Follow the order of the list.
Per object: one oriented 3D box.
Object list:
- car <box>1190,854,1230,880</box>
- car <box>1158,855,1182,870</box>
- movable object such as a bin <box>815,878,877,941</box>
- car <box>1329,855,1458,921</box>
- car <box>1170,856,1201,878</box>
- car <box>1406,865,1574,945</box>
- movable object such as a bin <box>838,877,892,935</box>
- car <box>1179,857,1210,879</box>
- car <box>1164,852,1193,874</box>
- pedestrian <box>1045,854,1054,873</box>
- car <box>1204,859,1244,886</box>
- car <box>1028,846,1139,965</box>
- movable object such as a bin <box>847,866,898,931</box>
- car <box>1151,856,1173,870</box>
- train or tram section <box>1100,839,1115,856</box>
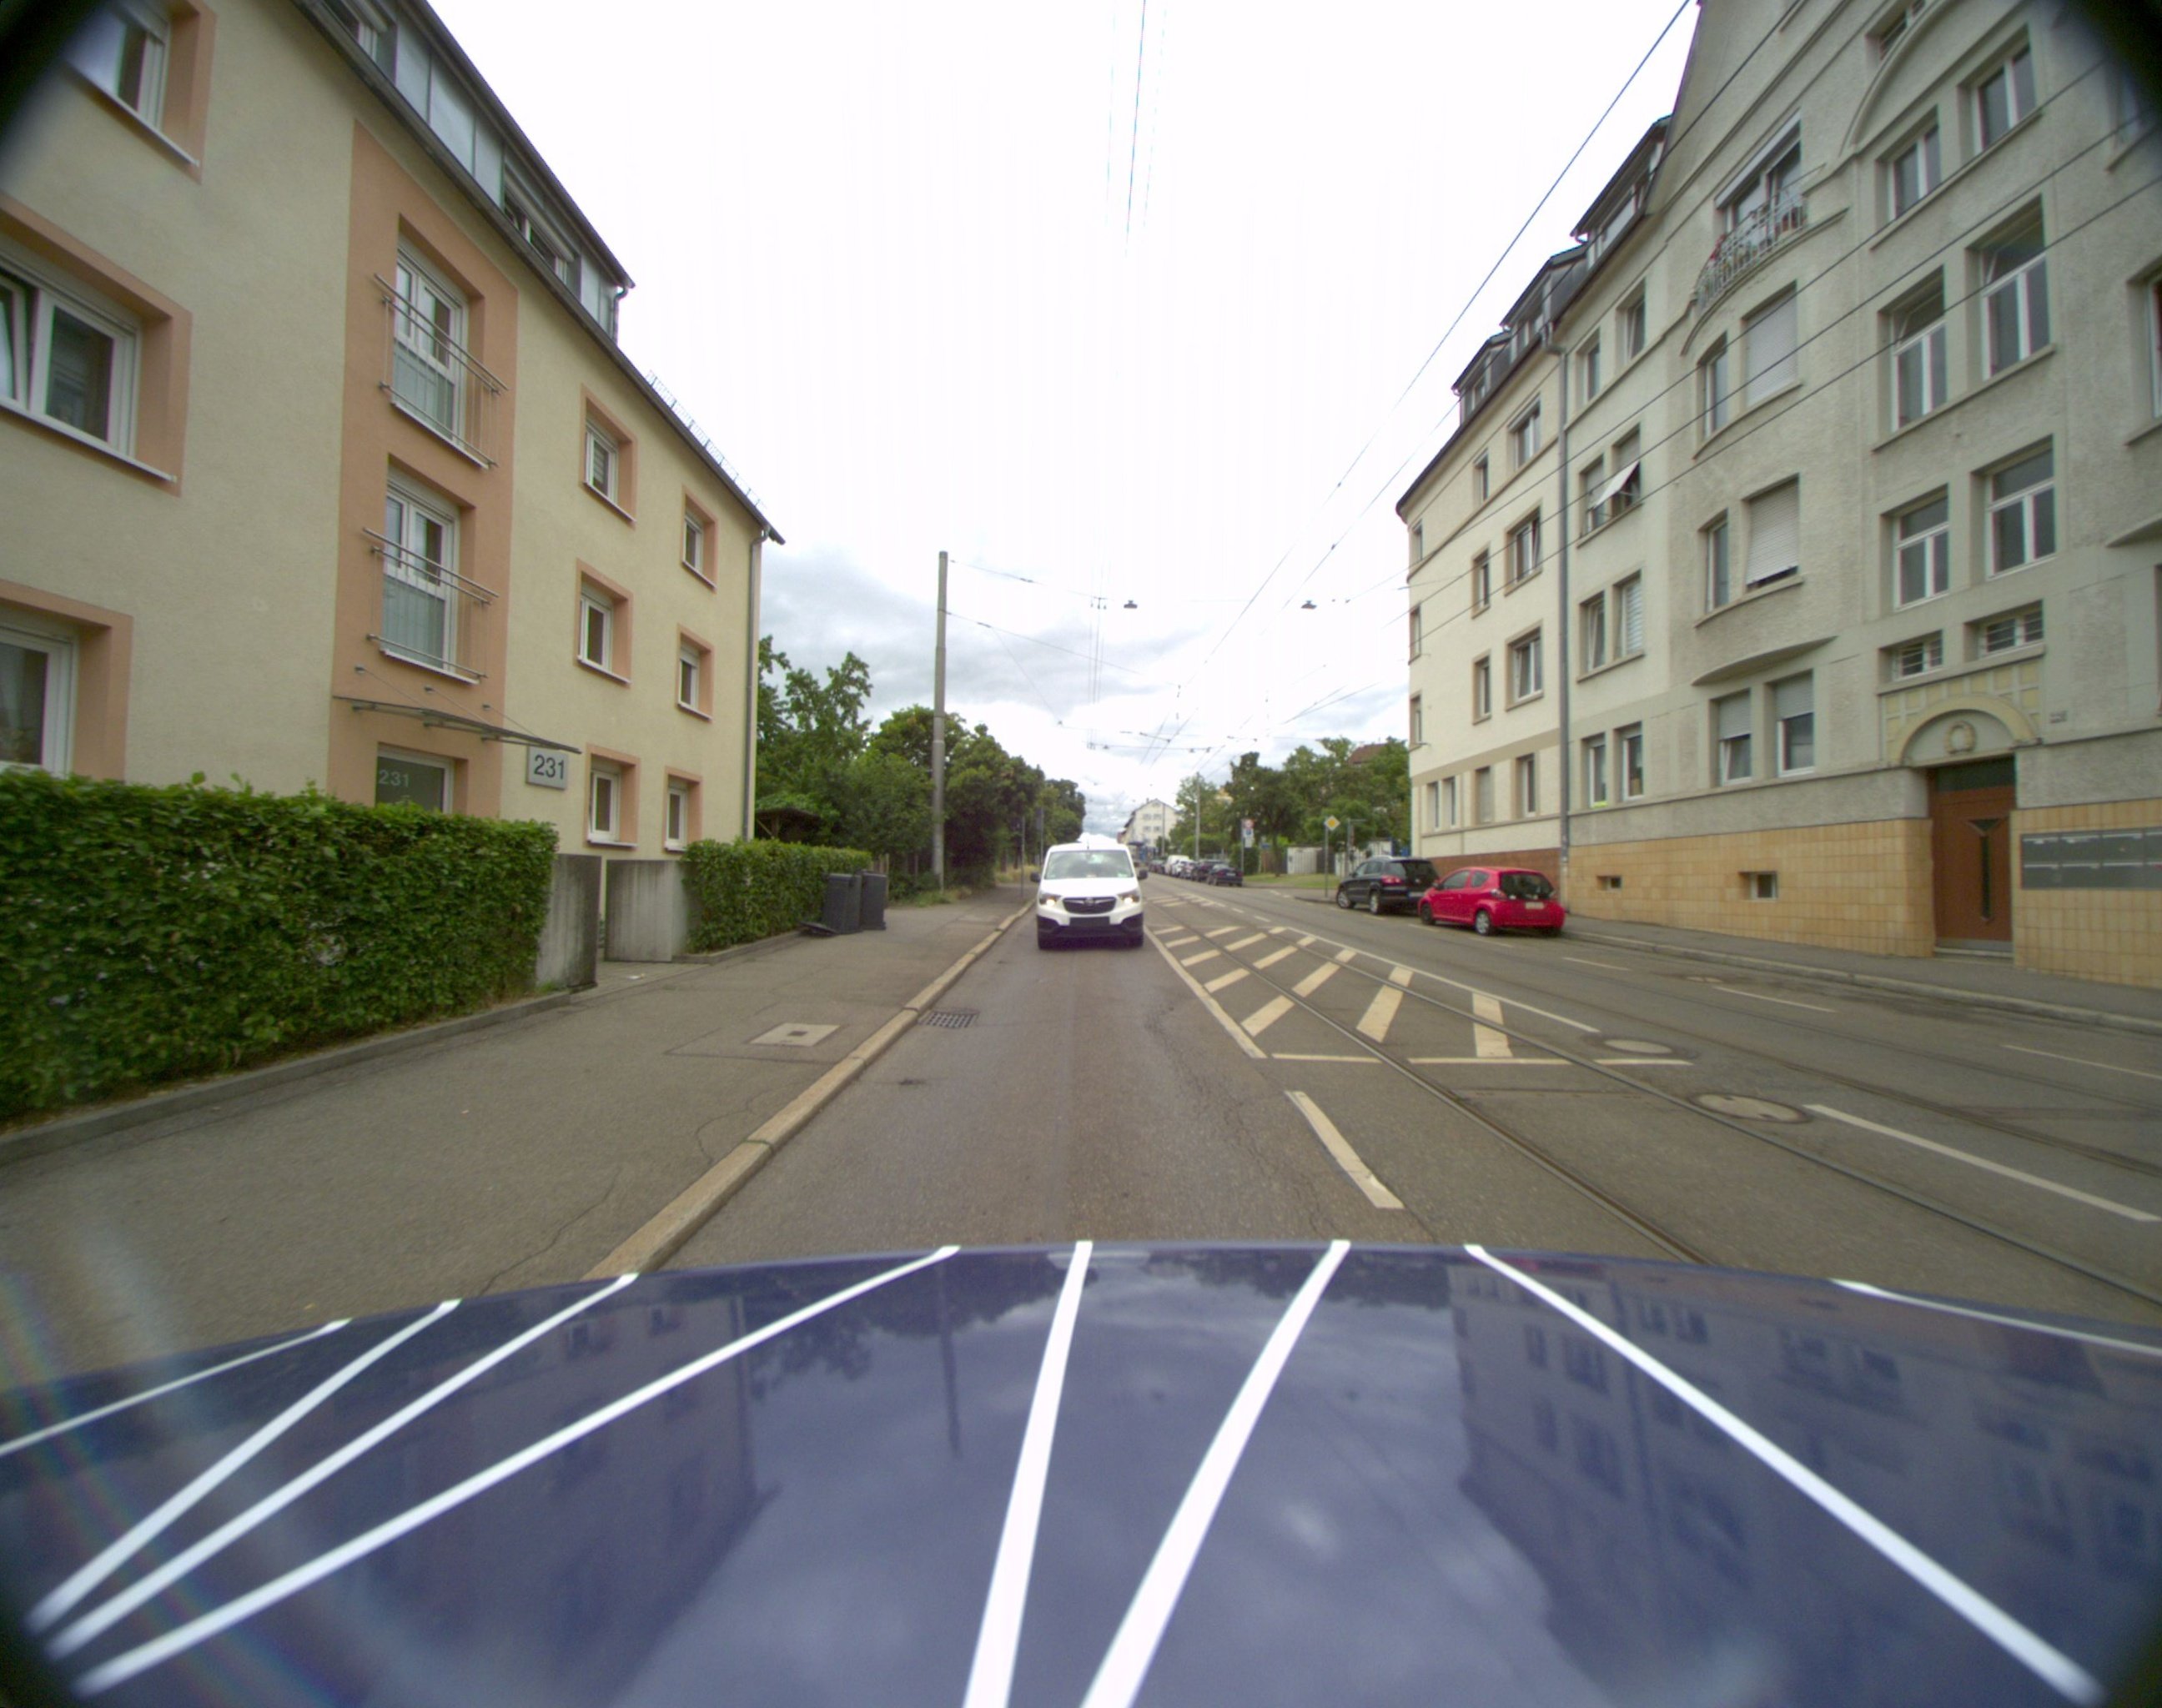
[{"bbox_3d":[9.174,0.901,54.312,1.974,1.677,4.443,1,1,-1],"label":"car"},{"bbox_3d":[9.052,0.876,77.340,1.845,1.379,4.516,1,1,-1],"label":"car"},{"bbox_3d":[-4.008,0.938,13.026,0.794,1.006,0.789,1,1,2],"label":"movable object such as a bin"},{"bbox_3d":[8.995,0.907,22.341,1.872,1.636,4.401,1,1,-1],"label":"car"},{"bbox_3d":[9.006,1.075,65.929,1.974,1.677,4.631,1,1,-1],"label":"car"},{"bbox_3d":[9.073,1.061,17.251,1.625,1.455,3.744,1,1,-3],"label":"car"},{"bbox_3d":[-3.923,0.936,13.864,0.794,1.006,0.789,0,1,-3],"label":"movable object such as a bin"},{"bbox_3d":[8.996,1.090,60.453,1.743,1.500,3.868,1,1,-1],"label":"car"},{"bbox_3d":[9.133,0.846,71.633,1.974,1.902,4.733,1,1,-1],"label":"car"},{"bbox_3d":[-2.807,0.846,67.253,0.716,1.611,0.718,1,1,0],"label":"pedestrian"},{"bbox_3d":[8.890,1.111,47.617,1.625,1.469,4.155,1,1,-1],"label":"car"},{"bbox_3d":[0.087,0.801,14.131,1.730,1.850,4.420,1,0,1],"label":"car"},{"bbox_3d":[-4.015,0.848,14.688,0.794,1.211,0.789,0,1,-3],"label":"movable object such as a bin"},{"bbox_3d":[8.872,0.971,83.860,1.845,1.379,4.439,1,1,-1],"label":"car"},{"bbox_3d":[5.804,-1.487,166.671,2.857,3.615,12.128,1,1,0],"label":"train or tram section"}]
